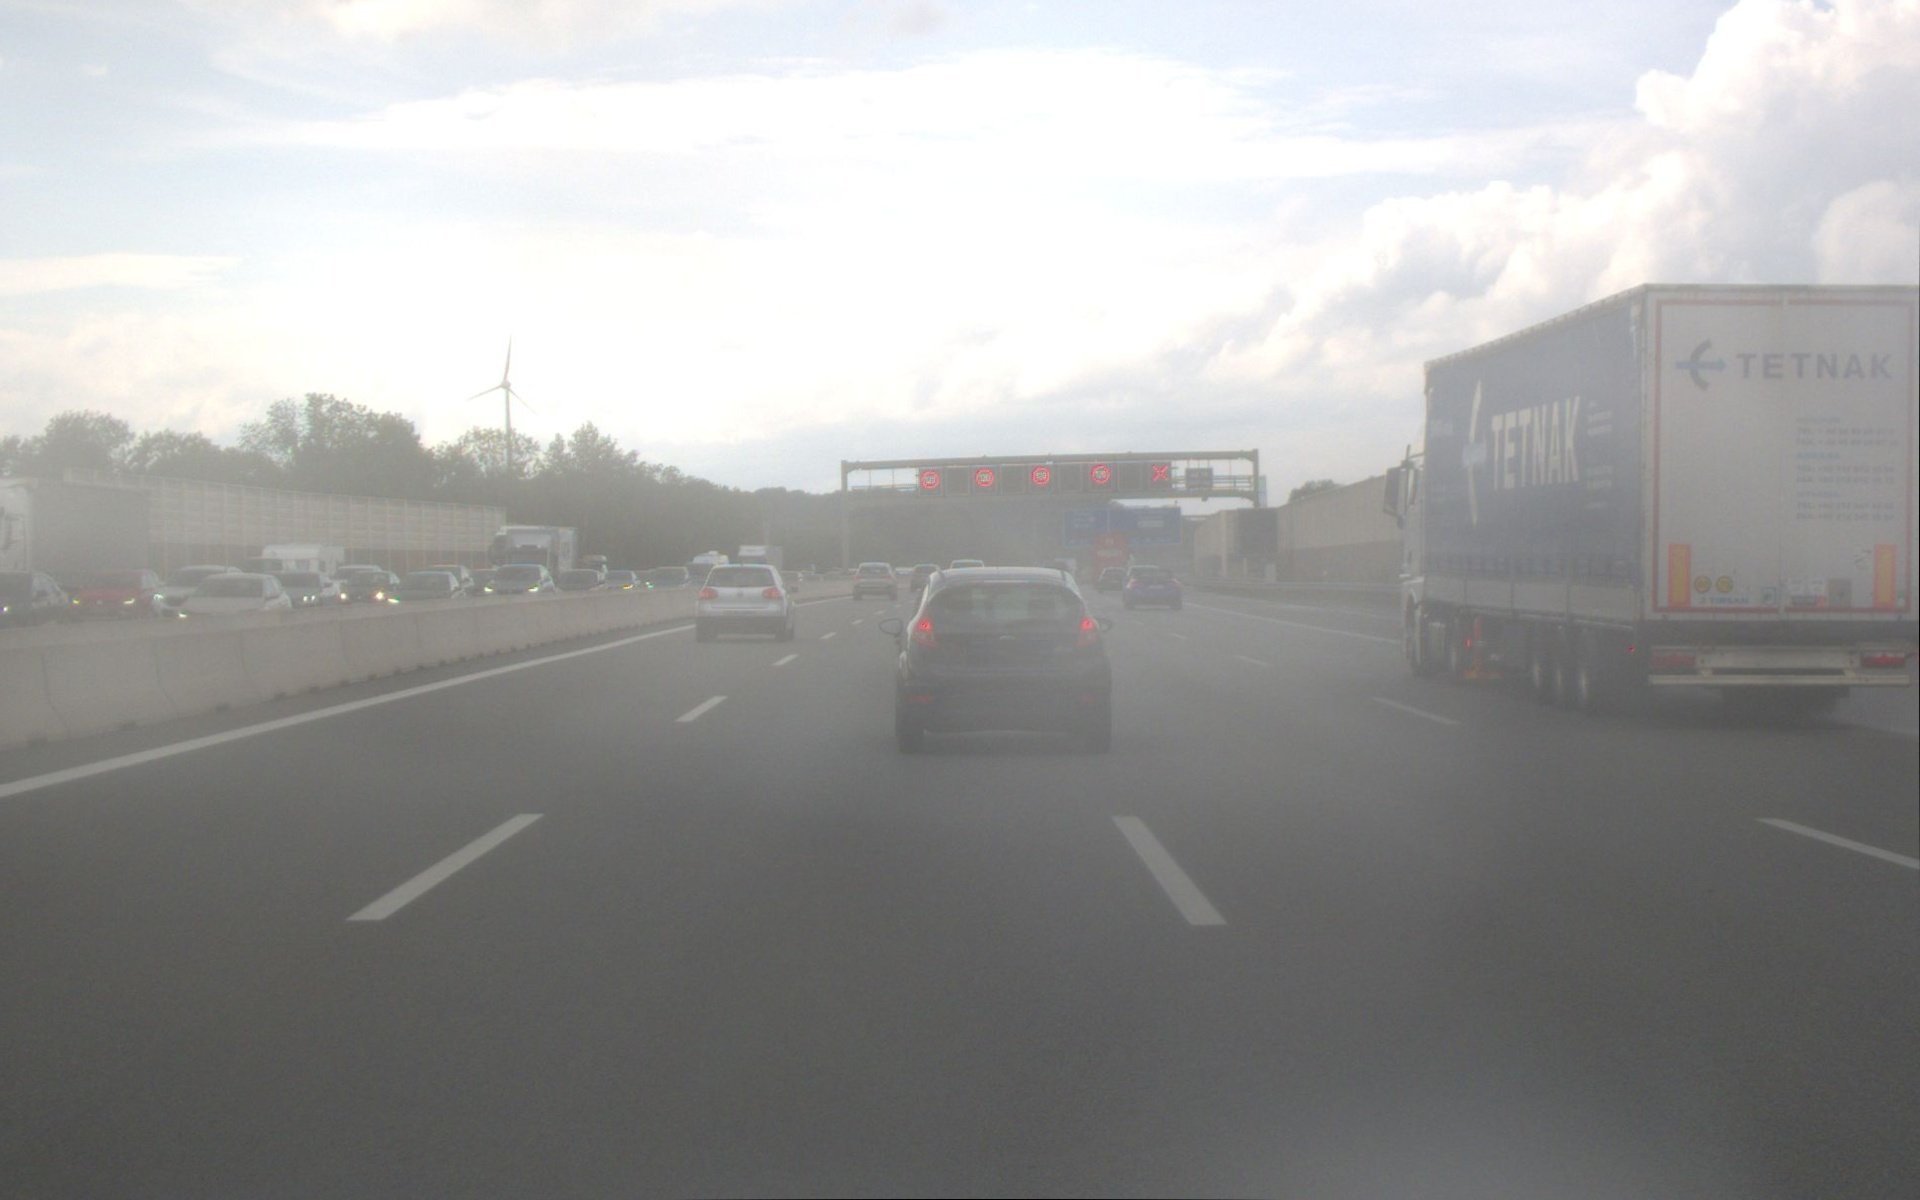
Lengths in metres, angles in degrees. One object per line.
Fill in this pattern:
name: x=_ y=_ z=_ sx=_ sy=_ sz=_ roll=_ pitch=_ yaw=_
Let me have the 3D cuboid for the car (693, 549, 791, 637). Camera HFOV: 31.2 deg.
car: x=-4.172 y=-0.163 z=66.266 sx=1.717 sy=1.618 sz=4.279 roll=0 pitch=1 yaw=-1

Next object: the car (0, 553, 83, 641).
car: x=-19.165 y=-0.086 z=69.022 sx=2.061 sy=1.694 sz=4.411 roll=0 pitch=1 yaw=-1

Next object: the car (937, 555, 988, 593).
car: x=0.141 y=-1.105 z=147.923 sx=1.968 sy=1.555 sz=4.432 roll=-1 pitch=0 yaw=3

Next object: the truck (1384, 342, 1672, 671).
truck: x=7.282 y=-1.170 z=44.807 sx=2.744 sy=4.021 sz=5.726 roll=0 pitch=1 yaw=-1

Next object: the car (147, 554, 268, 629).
car: x=-18.815 y=-0.228 z=86.167 sx=2.061 sy=1.810 sz=4.779 roll=0 pitch=1 yaw=-1

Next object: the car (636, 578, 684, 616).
car: x=-13.839 y=-0.146 z=158.676 sx=1.873 sy=1.694 sz=4.222 roll=0 pitch=1 yaw=0

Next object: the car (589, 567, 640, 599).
car: x=-17.840 y=-0.883 z=177.667 sx=2.060 sy=1.594 sz=4.997 roll=0 pitch=0 yaw=1

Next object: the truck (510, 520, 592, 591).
truck: x=-20.957 y=-2.262 z=176.700 sx=2.696 sy=3.515 sz=9.995 roll=1 pitch=1 yaw=2

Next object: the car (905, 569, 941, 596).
car: x=-2.238 y=-1.039 z=209.685 sx=1.968 sy=1.555 sz=4.432 roll=-1 pitch=0 yaw=3

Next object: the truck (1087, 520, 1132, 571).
truck: x=10.934 y=-3.925 z=251.810 sx=3.153 sy=3.589 sz=12.698 roll=1 pitch=1 yaw=3

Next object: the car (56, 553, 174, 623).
car: x=-22.556 y=-0.349 z=91.936 sx=2.061 sy=1.810 sz=4.779 roll=0 pitch=1 yaw=-1

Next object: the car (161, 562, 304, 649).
car: x=-14.765 y=0.085 z=69.963 sx=2.061 sy=1.694 sz=4.411 roll=0 pitch=1 yaw=-1

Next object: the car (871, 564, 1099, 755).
car: x=0.141 y=0.425 z=28.007 sx=1.717 sy=1.412 sz=4.279 roll=0 pitch=1 yaw=-1

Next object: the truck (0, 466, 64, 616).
truck: x=-26.885 y=-1.602 z=94.959 sx=2.745 sy=4.021 sz=5.726 roll=0 pitch=1 yaw=1

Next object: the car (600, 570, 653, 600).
car: x=-17.199 y=-0.771 z=177.547 sx=2.060 sy=1.486 sz=4.997 roll=0 pitch=0 yaw=3

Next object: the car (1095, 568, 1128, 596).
car: x=8.822 y=-1.017 z=200.303 sx=1.883 sy=1.555 sz=4.432 roll=-1 pitch=0 yaw=3

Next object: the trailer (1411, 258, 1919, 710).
trailer: x=7.352 y=-1.101 z=37.822 sx=2.761 sy=4.018 sz=14.453 roll=0 pitch=1 yaw=-1

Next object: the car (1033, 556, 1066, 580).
car: x=5.818 y=-2.082 z=223.164 sx=1.968 sy=1.555 sz=4.432 roll=0 pitch=1 yaw=4

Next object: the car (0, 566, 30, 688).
car: x=-14.865 y=0.421 z=48.422 sx=2.061 sy=1.749 sz=5.808 roll=0 pitch=1 yaw=-1

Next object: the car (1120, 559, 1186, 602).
car: x=6.534 y=-0.642 z=116.719 sx=1.949 sy=1.413 sz=4.232 roll=0 pitch=0 yaw=-1

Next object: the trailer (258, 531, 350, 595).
trailer: x=-26.238 y=-1.488 z=137.770 sx=2.459 sy=2.487 sz=6.085 roll=0 pitch=1 yaw=1

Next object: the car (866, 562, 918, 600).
car: x=-2.944 y=-0.824 z=150.469 sx=1.968 sy=1.555 sz=4.432 roll=-1 pitch=0 yaw=3

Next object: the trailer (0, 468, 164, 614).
trailer: x=-26.764 y=-1.696 z=101.915 sx=2.761 sy=4.018 sz=14.453 roll=0 pitch=1 yaw=1
